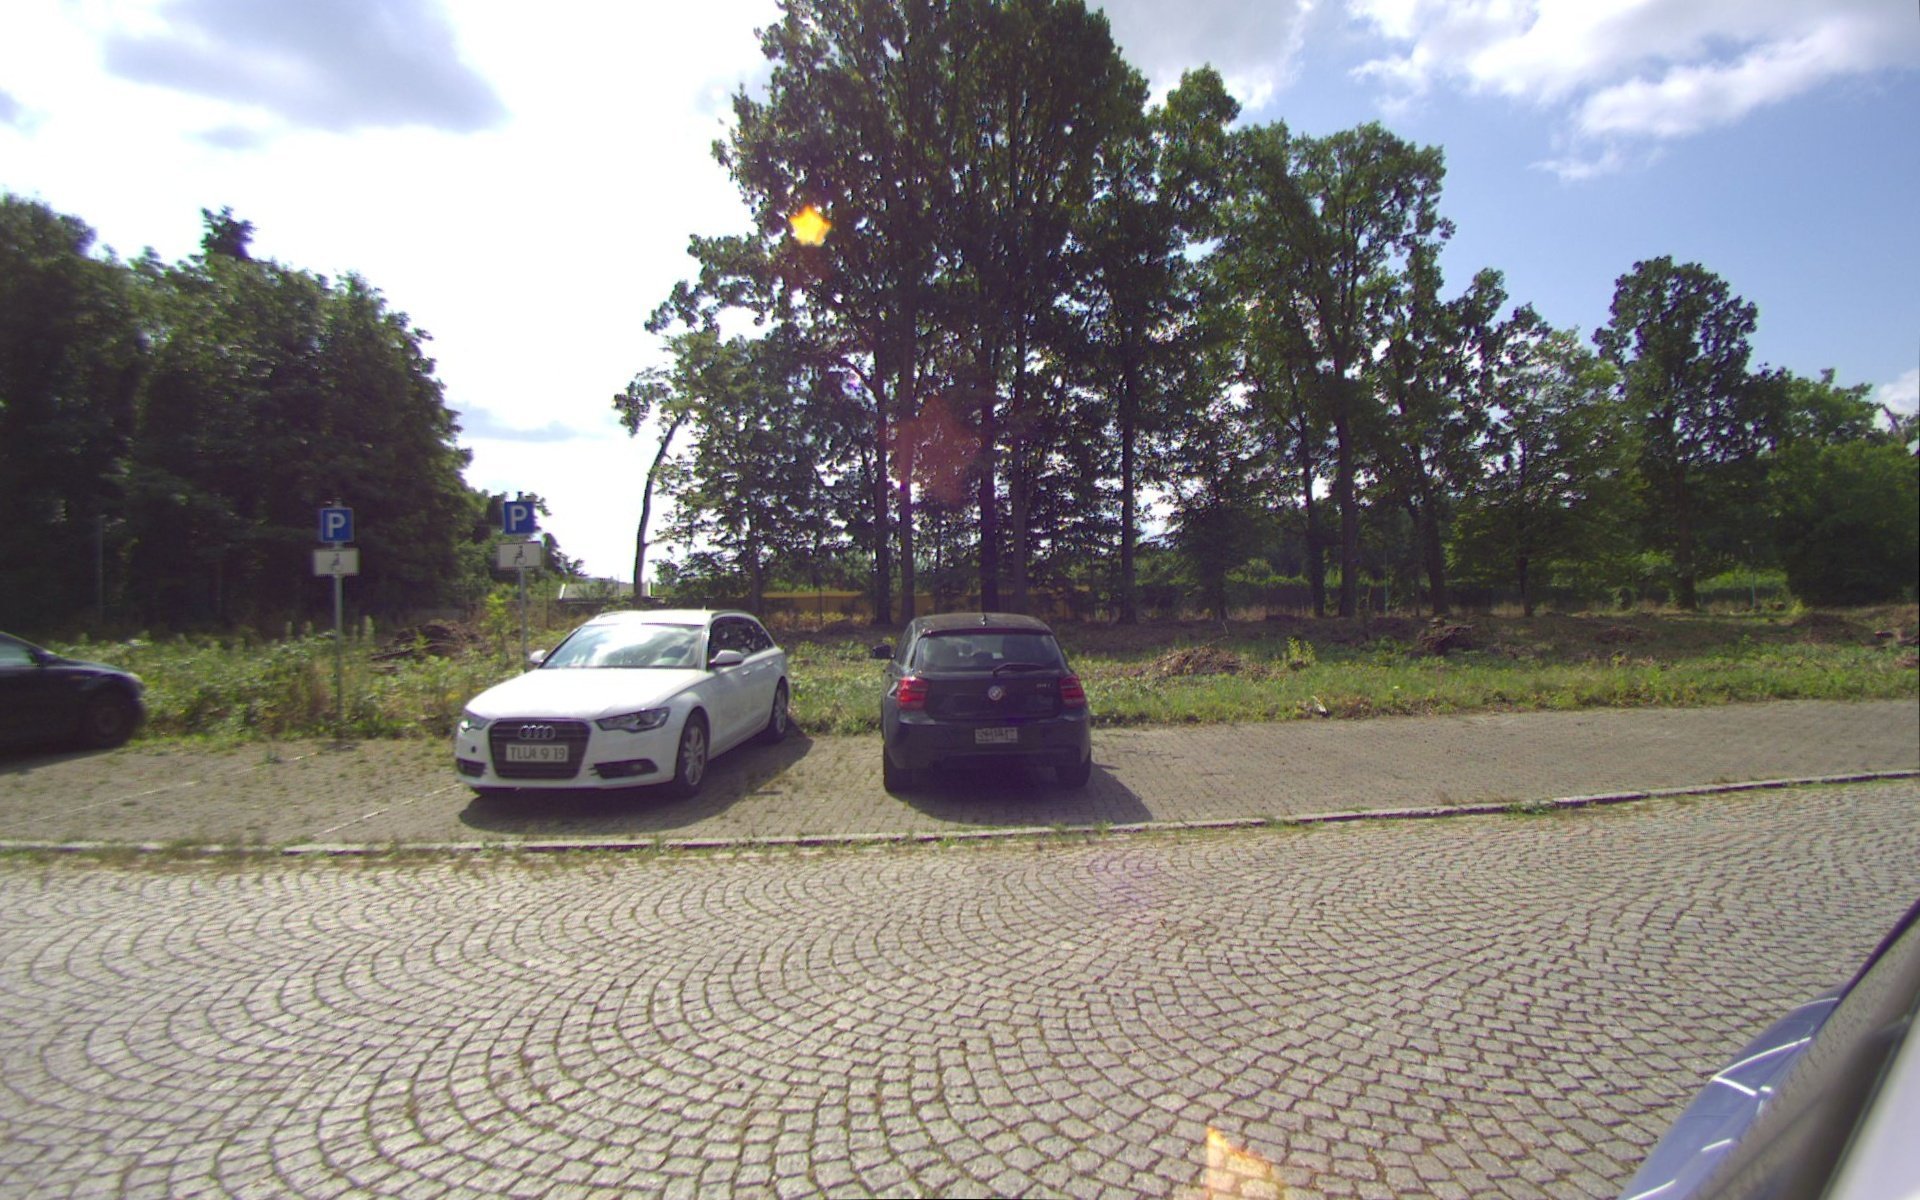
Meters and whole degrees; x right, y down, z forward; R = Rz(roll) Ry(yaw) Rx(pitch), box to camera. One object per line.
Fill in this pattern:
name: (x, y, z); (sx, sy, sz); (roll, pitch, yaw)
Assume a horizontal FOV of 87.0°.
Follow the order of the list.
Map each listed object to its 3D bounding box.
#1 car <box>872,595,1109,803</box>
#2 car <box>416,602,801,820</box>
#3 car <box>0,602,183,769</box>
car: (0.090, 0.736, 9.843); (1.794, 1.519, 4.342); (0, 1, -4)
car: (-2.938, 0.806, 9.765); (1.840, 1.491, 4.875); (0, 1, 3)
car: (-10.195, 0.870, 9.532); (1.845, 1.572, 4.866); (-2, 1, 3)
